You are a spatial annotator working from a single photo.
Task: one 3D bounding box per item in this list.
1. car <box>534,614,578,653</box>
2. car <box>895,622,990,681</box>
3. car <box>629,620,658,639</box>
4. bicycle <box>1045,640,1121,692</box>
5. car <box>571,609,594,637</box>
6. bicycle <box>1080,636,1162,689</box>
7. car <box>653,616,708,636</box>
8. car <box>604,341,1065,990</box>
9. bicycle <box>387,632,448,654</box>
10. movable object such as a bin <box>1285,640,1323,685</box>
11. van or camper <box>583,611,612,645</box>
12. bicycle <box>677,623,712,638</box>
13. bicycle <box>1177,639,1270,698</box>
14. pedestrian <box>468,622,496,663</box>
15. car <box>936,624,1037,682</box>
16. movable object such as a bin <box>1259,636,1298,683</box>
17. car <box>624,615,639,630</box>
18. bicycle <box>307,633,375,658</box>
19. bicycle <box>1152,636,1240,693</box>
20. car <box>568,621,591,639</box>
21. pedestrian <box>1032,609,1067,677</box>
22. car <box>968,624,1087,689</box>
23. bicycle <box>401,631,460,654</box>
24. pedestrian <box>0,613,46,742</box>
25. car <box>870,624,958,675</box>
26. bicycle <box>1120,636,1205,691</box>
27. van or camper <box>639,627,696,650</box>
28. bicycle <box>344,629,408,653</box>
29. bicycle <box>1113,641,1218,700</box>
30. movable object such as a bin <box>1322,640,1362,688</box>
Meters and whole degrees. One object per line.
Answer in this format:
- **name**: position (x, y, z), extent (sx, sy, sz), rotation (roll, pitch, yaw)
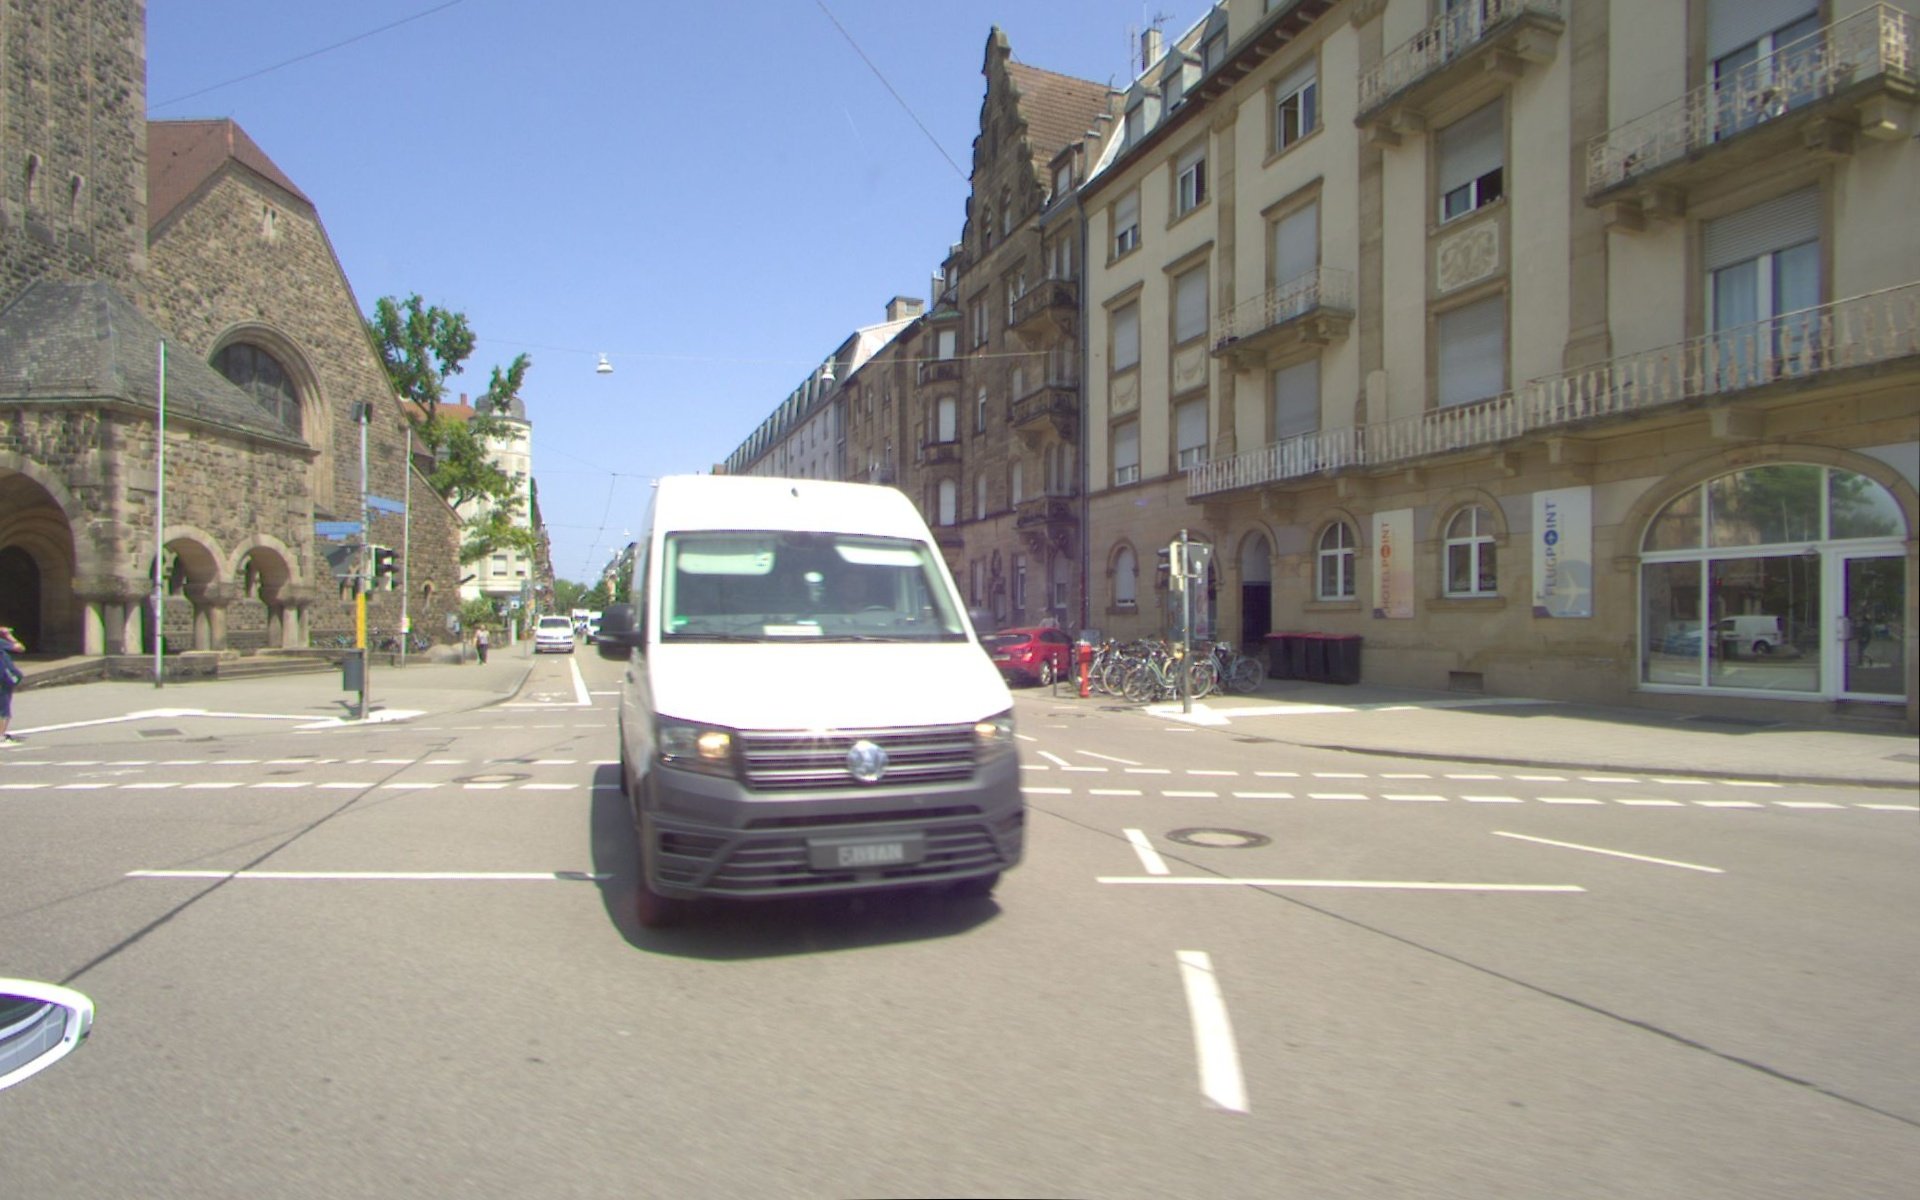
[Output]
- **car**: position (-21.889, 1.782, 54.394), extent (2.010, 2.030, 4.957), rotation (0, -1, -19)
- **car**: position (-0.508, 1.602, 31.636), extent (1.593, 1.686, 3.213), rotation (-3, -1, 29)
- **car**: position (-30.123, 2.796, 95.176), extent (1.931, 1.772, 3.982), rotation (0, -1, -28)
- **bicycle**: position (2.960, 1.557, 24.031), extent (1.777, 1.166, 0.563), rotation (-1, -1, -27)
- **car**: position (-36.814, 2.227, 97.681), extent (1.879, 2.686, 3.986), rotation (0, -1, -24)
- **bicycle**: position (3.746, 1.455, 23.354), extent (1.771, 1.166, 0.565), rotation (-1, -1, -8)
- **car**: position (-22.576, 2.106, 80.942), extent (1.732, 1.568, 3.964), rotation (-2, -2, 45)
- **car**: position (-1.582, 0.341, 7.591), extent (2.042, 2.671, 6.617), rotation (0, -1, -20)
- **bicycle**: position (-24.762, 1.959, 45.714), extent (2.450, 1.024, 0.706), rotation (0, 0, 5)
- **movable object such as a bin**: position (7.801, 1.408, 22.728), extent (0.572, 1.007, 0.590), rotation (0, -1, -13)
- **van or camper**: position (-27.715, 2.145, 76.627), extent (2.038, 2.493, 5.889), rotation (1, -1, -20)
- **bicycle**: position (-20.493, 2.356, 77.315), extent (2.574, 1.189, 0.676), rotation (2, -2, -44)
- **bicycle**: position (5.530, 1.434, 21.040), extent (1.771, 1.166, 0.565), rotation (-1, -1, -8)
- **pedestrian**: position (-18.355, 1.629, 38.471), extent (0.707, 1.579, 0.792), rotation (0, -1, -4)
- **car**: position (0.813, 1.510, 29.032), extent (1.593, 1.498, 3.213), rotation (-3, -1, 29)
- **movable object such as a bin**: position (7.428, 1.390, 23.357), extent (0.658, 1.078, 0.590), rotation (0, -1, -13)
- **car**: position (-44.316, 3.047, 135.022), extent (1.880, 2.039, 3.992), rotation (-1, -2, -19)
- **bicycle**: position (-25.789, 1.886, 41.738), extent (2.450, 1.024, 0.706), rotation (0, 0, 5)
- **bicycle**: position (5.158, 1.399, 21.895), extent (1.771, 1.166, 0.565), rotation (-1, -1, -8)
- **car**: position (-38.899, 3.074, 102.308), extent (1.929, 1.772, 3.986), rotation (0, -1, -24)
- **pedestrian**: position (2.890, 1.392, 32.409), extent (0.851, 2.141, 1.100), rotation (0, -1, -12)
- **car**: position (1.788, 1.426, 25.962), extent (1.596, 1.498, 3.206), rotation (-3, -2, 35)
- **bicycle**: position (-24.748, 1.979, 46.792), extent (2.450, 1.024, 0.706), rotation (0, 0, 5)
- **pedestrian**: position (-14.156, 1.125, 14.691), extent (0.817, 1.846, 0.744), rotation (0, -1, 10)
- **car**: position (-1.560, 1.711, 34.805), extent (1.593, 1.595, 3.213), rotation (-3, -1, 29)
- **bicycle**: position (4.575, 1.428, 22.665), extent (1.771, 1.166, 0.565), rotation (-1, -1, -8)
- **van or camper**: position (-24.929, 3.260, 85.359), extent (1.978, 1.861, 4.291), rotation (-1, -2, 42)
- **bicycle**: position (-25.395, 1.798, 43.529), extent (2.450, 1.024, 0.706), rotation (0, 0, 5)
- **bicycle**: position (4.144, 1.409, 20.223), extent (2.021, 1.166, 0.565), rotation (0, 0, -8)
- **movable object such as a bin**: position (8.278, 1.376, 21.729), extent (0.572, 1.007, 0.590), rotation (0, -1, -13)
